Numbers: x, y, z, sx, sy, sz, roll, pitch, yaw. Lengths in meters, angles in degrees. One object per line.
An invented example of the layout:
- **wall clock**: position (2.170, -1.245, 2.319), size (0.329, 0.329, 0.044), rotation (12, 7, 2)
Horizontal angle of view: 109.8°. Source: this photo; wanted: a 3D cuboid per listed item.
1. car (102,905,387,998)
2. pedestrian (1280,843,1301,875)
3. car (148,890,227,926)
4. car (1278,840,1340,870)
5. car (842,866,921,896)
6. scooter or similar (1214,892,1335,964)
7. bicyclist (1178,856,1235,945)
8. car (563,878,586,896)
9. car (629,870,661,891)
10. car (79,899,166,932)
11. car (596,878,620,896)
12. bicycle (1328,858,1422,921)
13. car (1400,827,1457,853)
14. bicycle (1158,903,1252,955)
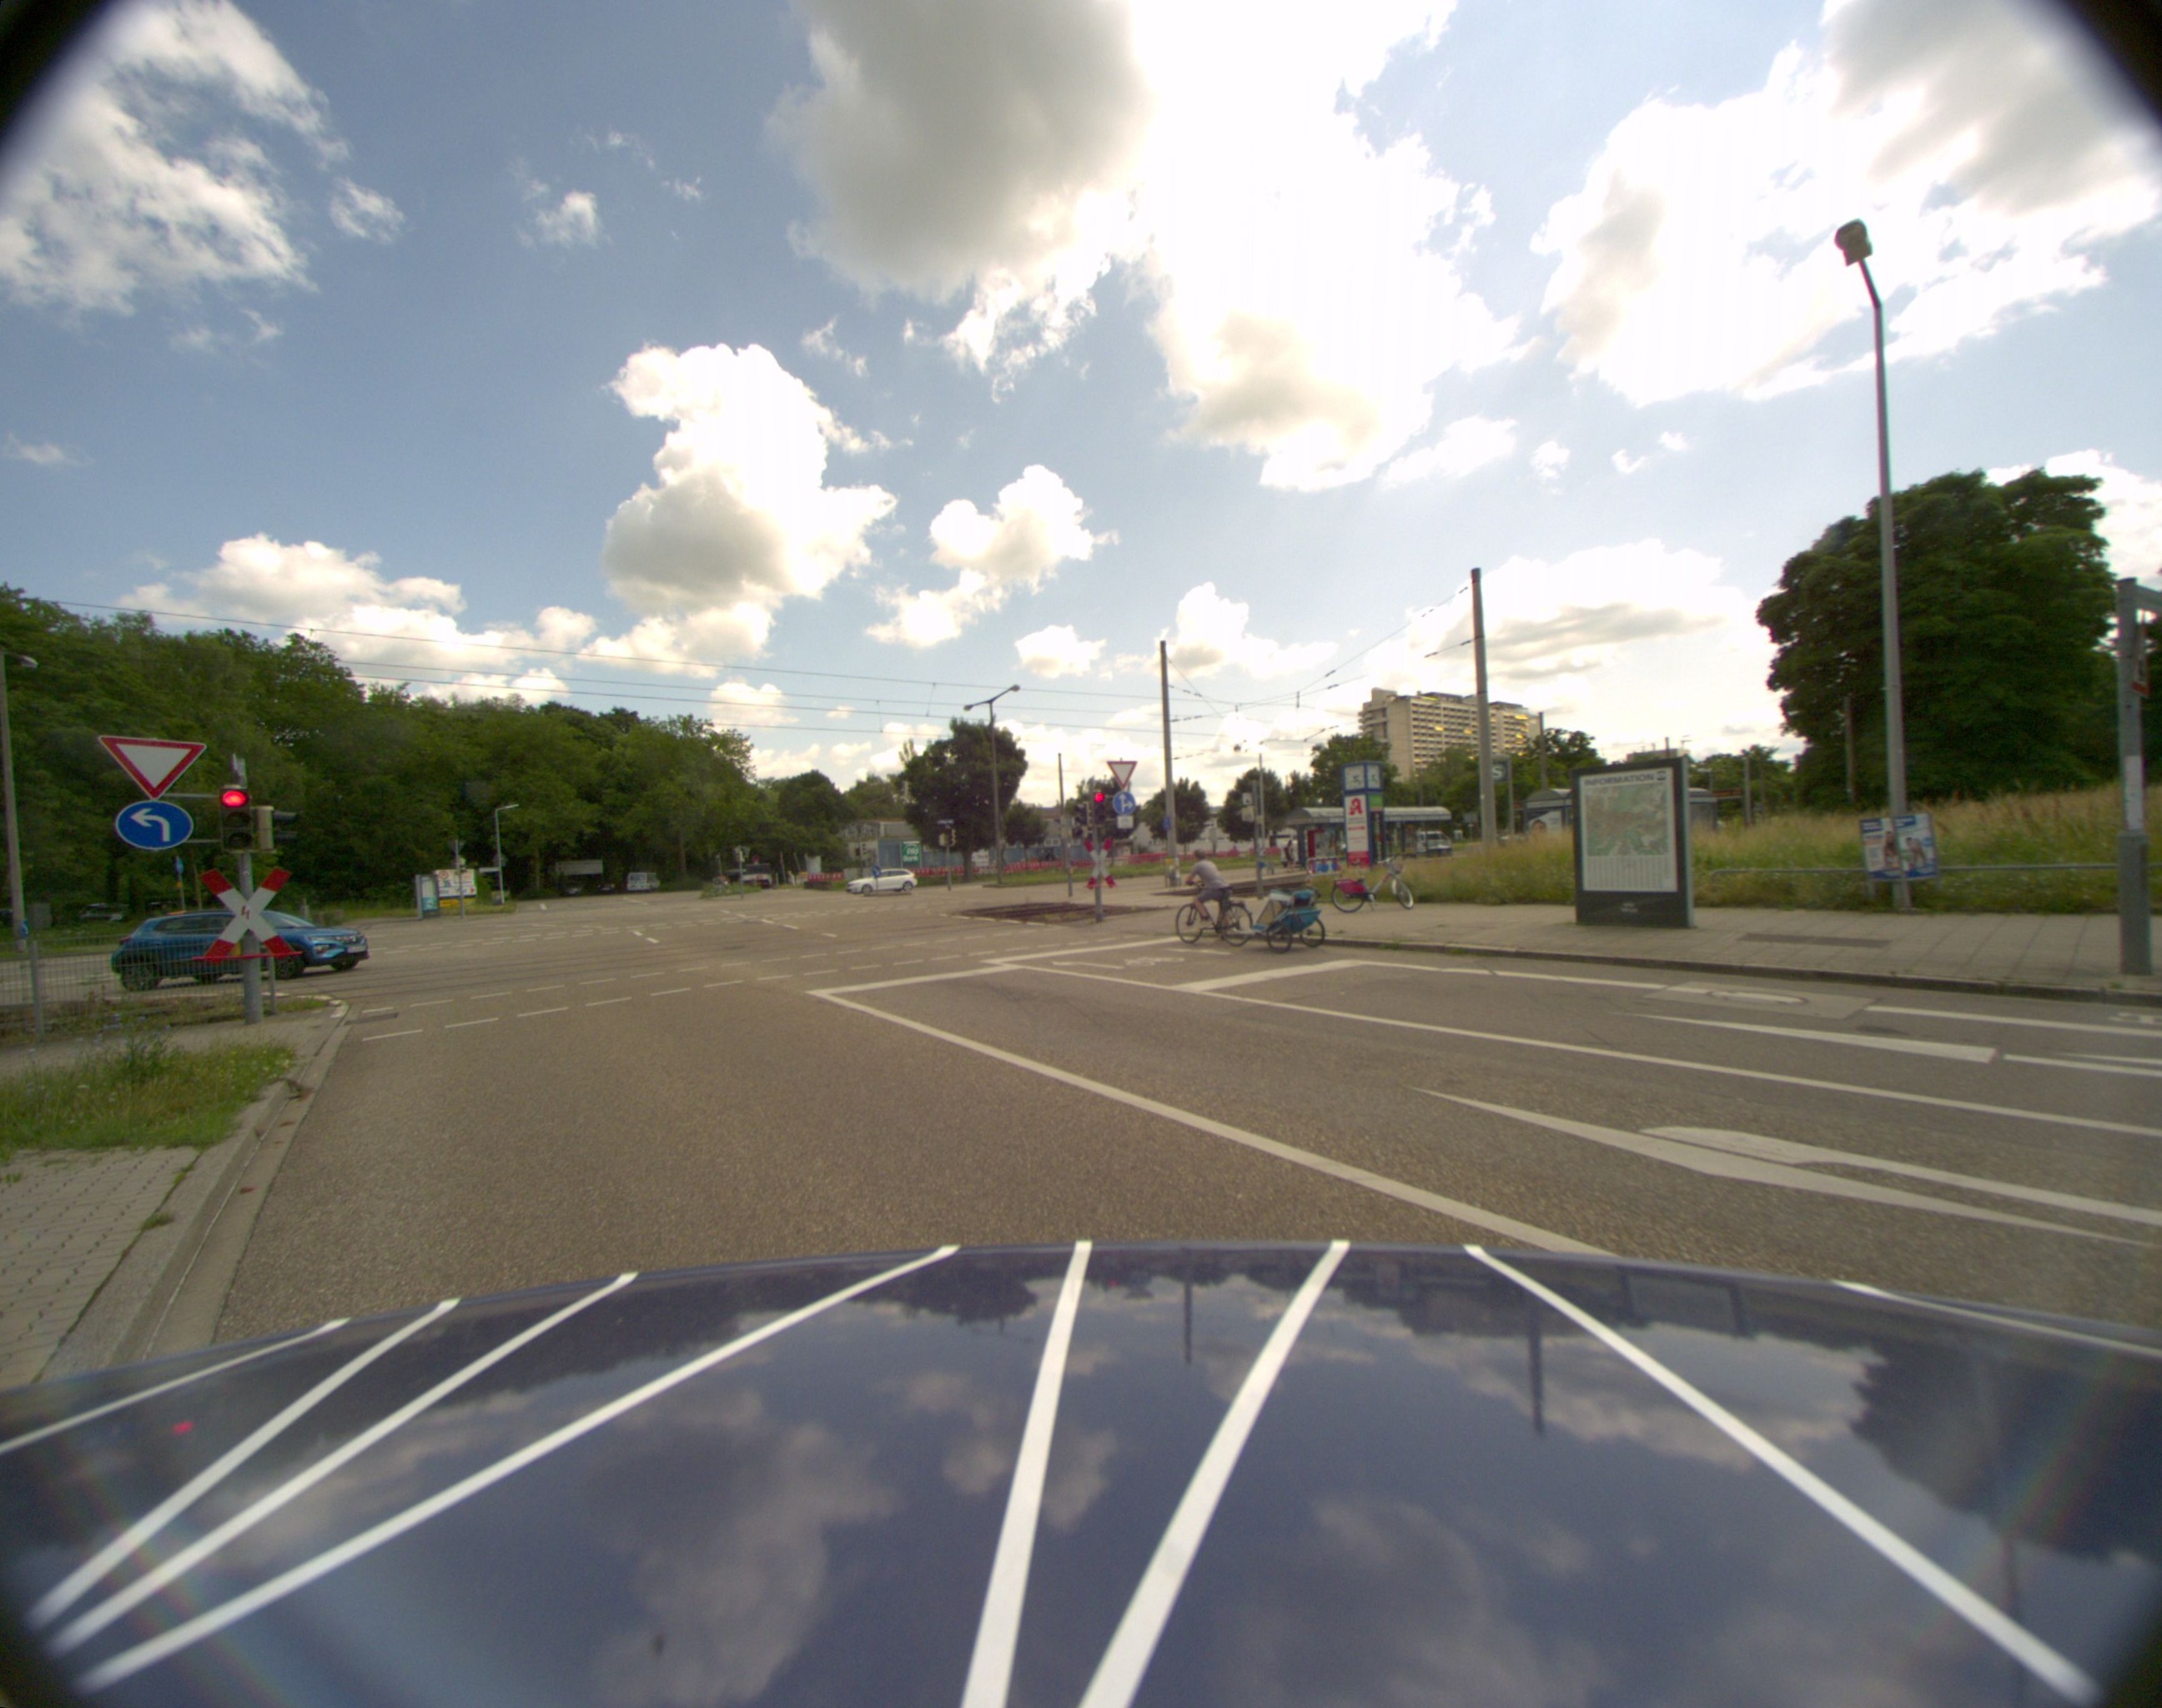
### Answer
- **car**: position (-17.181, 1.962, 15.797), size (3.703, 1.455, 1.604), rotation (-4, 0, -11)
- **pedestrian**: position (10.151, 0.242, 36.800), size (0.719, 1.505, 0.654), rotation (-4, 1, -45)
- **car**: position (-57.877, 3.469, 49.312), size (2.003, 2.002, 3.991), rotation (-4, 0, -30)
- **car**: position (15.561, 0.049, 51.835), size (4.162, 1.775, 1.744), rotation (-3, 2, -35)
- **car**: position (-12.191, 1.620, 46.514), size (4.180, 1.495, 1.995), rotation (-3, 2, -36)
- **scooter or similar**: position (3.034, 1.127, 12.027), size (0.964, 0.974, 1.576), rotation (-3, 0, -33)
- **bicyclist**: position (2.167, 0.796, 13.203), size (0.456, 1.467, 0.840), rotation (-4, 1, -34)
- **car**: position (-47.532, 3.081, 71.328), size (1.622, 1.499, 3.610), rotation (-3, 2, -35)
- **car**: position (-42.368, 2.545, 73.937), size (1.939, 1.783, 3.613), rotation (-3, 1, -18)
- **car**: position (-60.773, 3.851, 48.285), size (1.821, 1.700, 4.119), rotation (-4, 1, -28)
- **car**: position (-45.285, 3.125, 72.718), size (1.622, 1.499, 3.610), rotation (-3, 2, -35)
- **bicycle**: position (5.955, 0.724, 15.465), size (1.657, 1.126, 0.702), rotation (-5, 1, 20)
- **car**: position (29.157, -1.214, 63.669), size (5.240, 1.907, 1.815), rotation (-3, 0, -35)
- **bicycle**: position (2.136, 1.280, 13.307), size (0.556, 0.760, 1.723), rotation (-3, 1, -33)
